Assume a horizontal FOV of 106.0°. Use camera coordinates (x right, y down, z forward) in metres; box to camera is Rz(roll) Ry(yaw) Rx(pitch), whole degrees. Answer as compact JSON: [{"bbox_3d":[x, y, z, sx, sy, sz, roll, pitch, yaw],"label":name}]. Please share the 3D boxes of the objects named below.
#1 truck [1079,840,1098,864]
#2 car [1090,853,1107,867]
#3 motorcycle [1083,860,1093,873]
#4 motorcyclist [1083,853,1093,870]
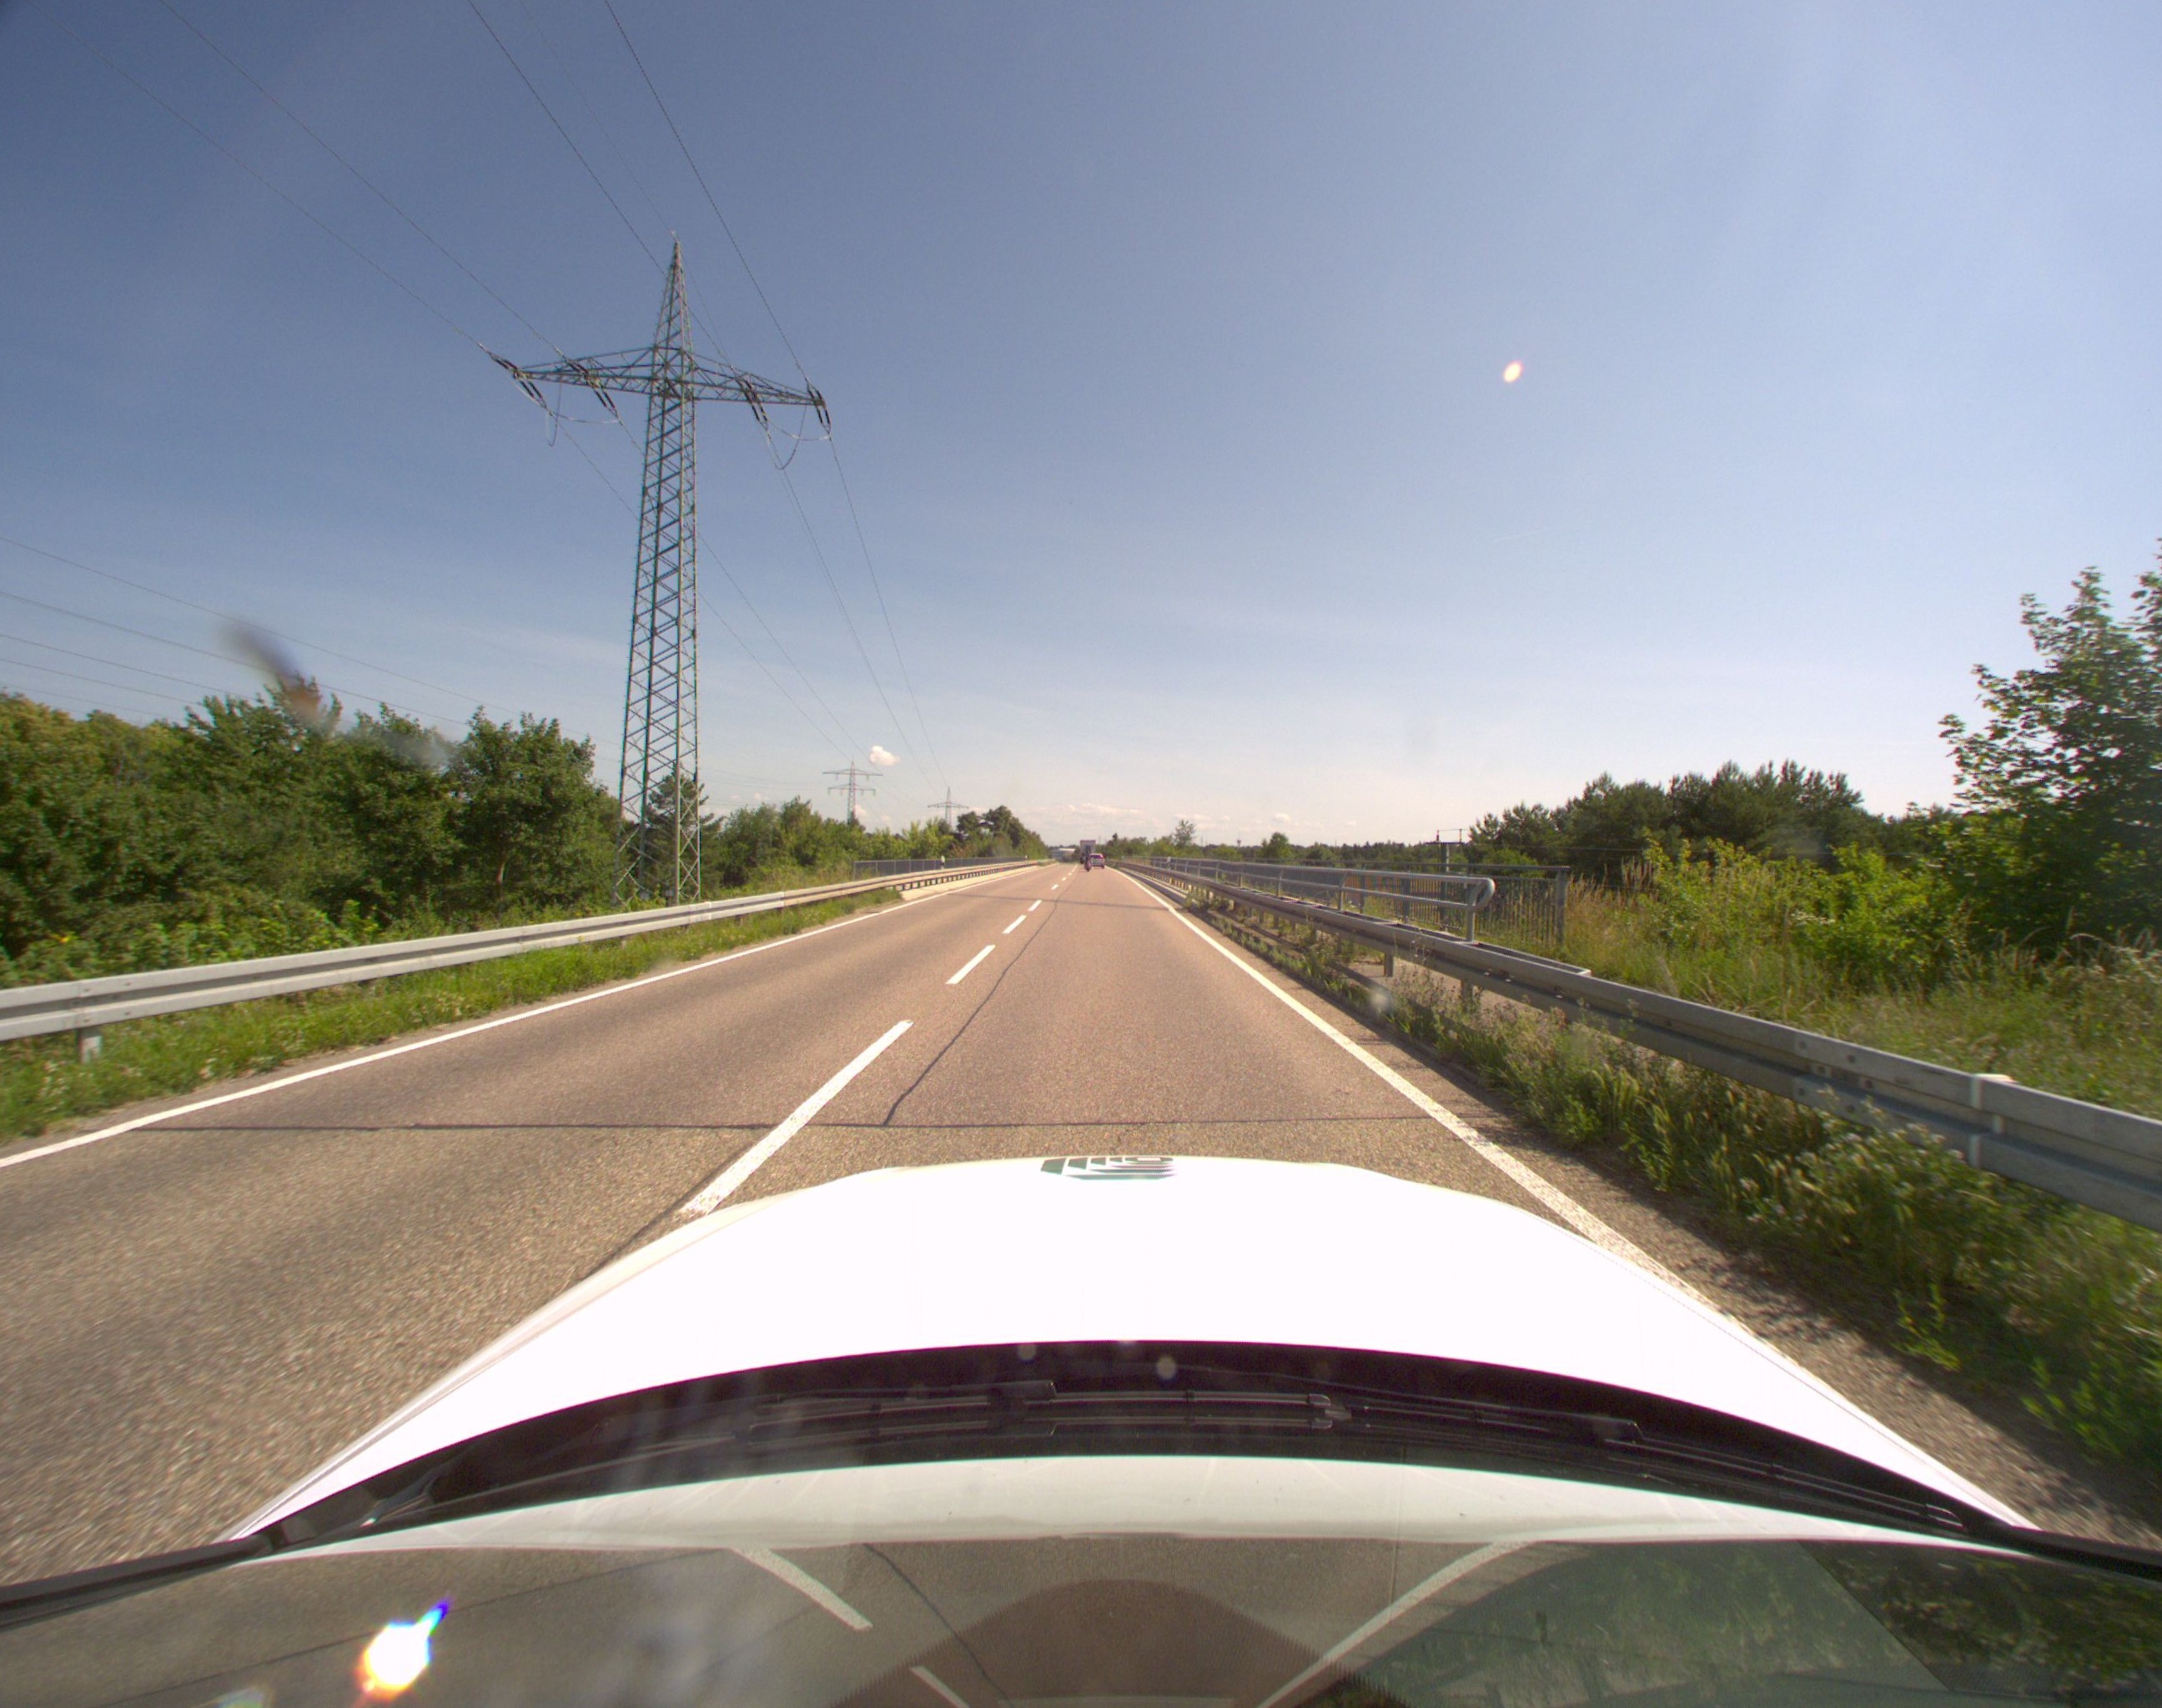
[{"bbox_3d":[1.371,-0.372,140.381,3.230,3.979,9.446,0,0,1],"label":"truck"},{"bbox_3d":[1.868,0.612,85.955,1.818,1.451,4.002,0,1,2],"label":"car"},{"bbox_3d":[0.595,1.017,68.022,0.777,0.975,2.363,0,1,2],"label":"motorcycle"},{"bbox_3d":[0.606,0.626,68.040,0.777,1.325,0.813,0,0,2],"label":"motorcyclist"}]
